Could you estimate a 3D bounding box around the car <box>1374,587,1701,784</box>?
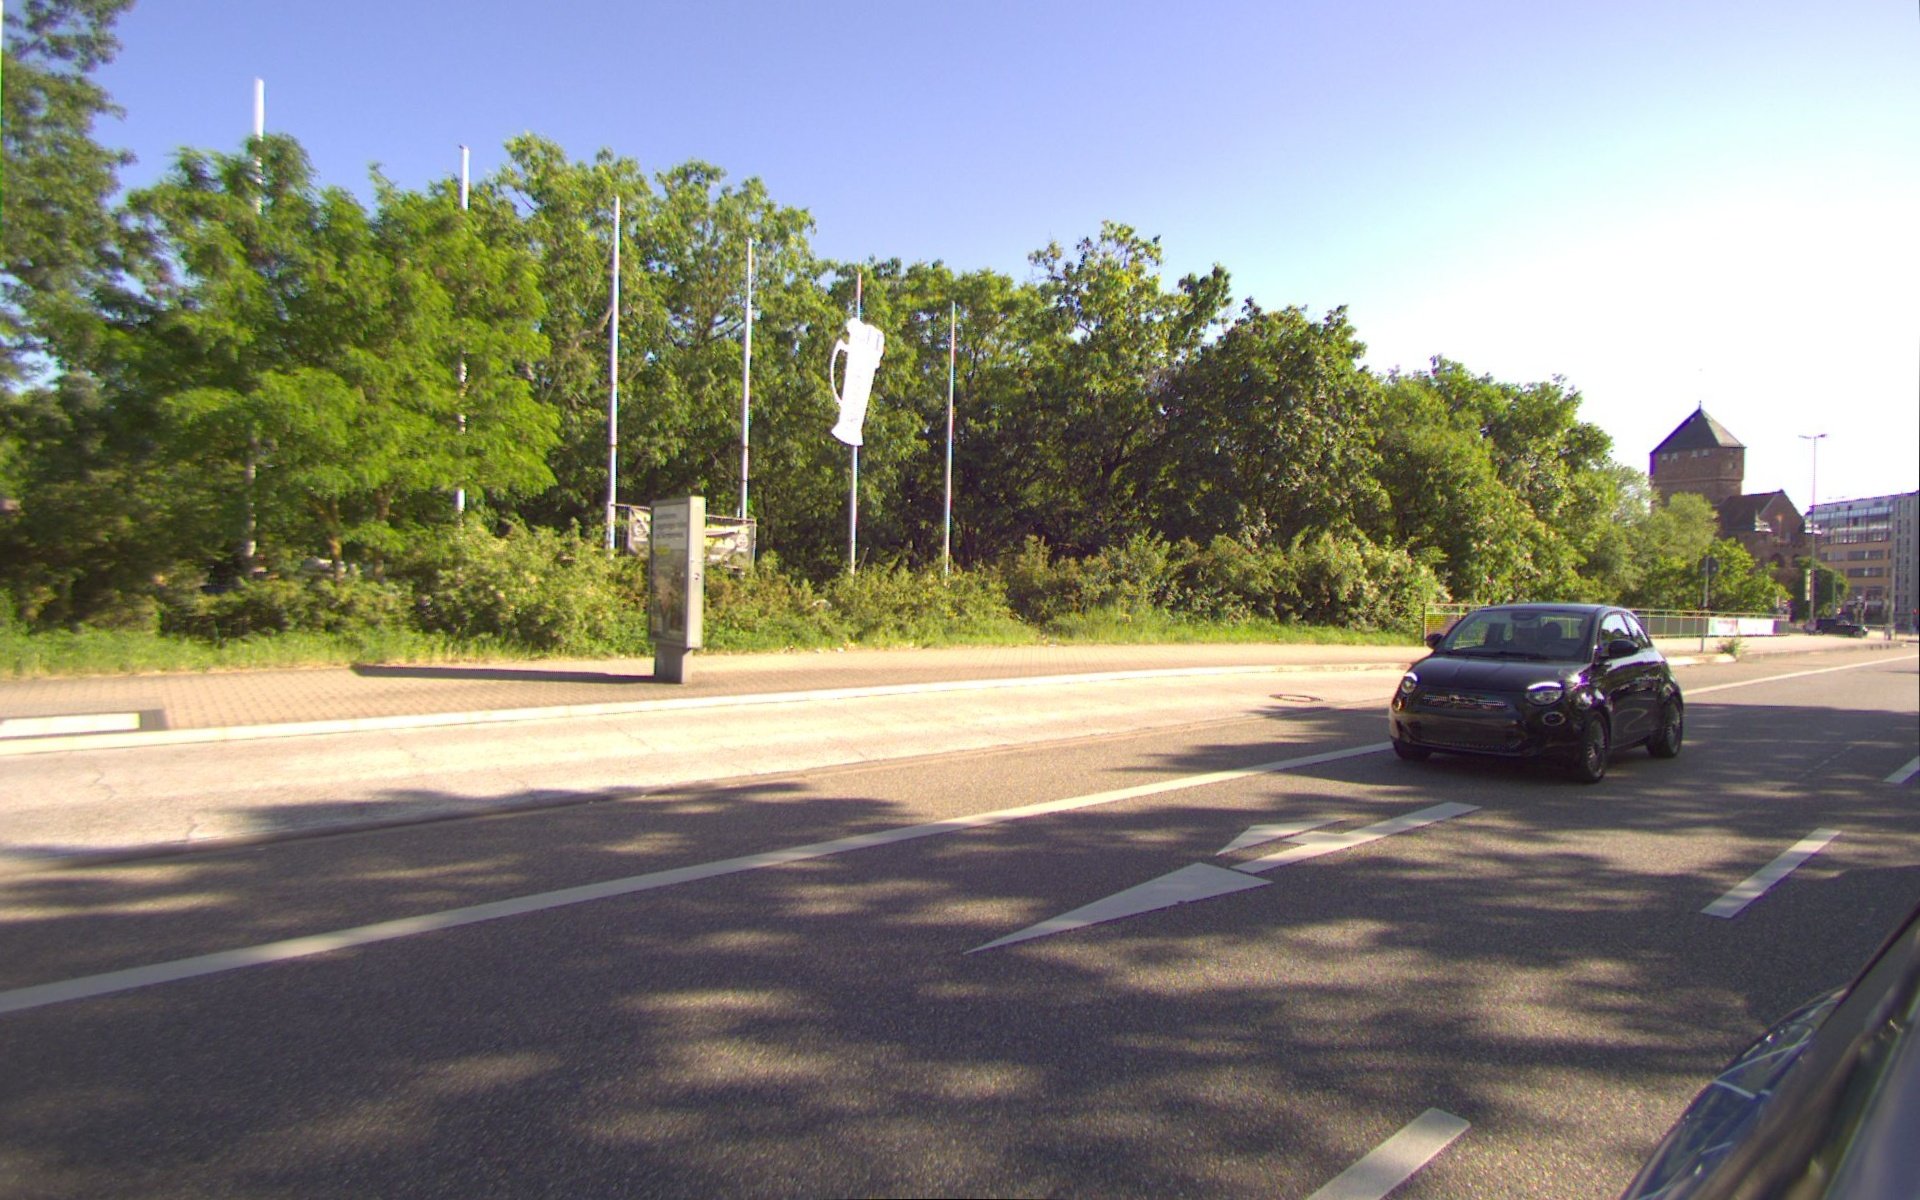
[{"bbox_3d":[5.656,0.678,9.767,3.500,1.522,1.677,0,1,-41],"label":"car"}]
